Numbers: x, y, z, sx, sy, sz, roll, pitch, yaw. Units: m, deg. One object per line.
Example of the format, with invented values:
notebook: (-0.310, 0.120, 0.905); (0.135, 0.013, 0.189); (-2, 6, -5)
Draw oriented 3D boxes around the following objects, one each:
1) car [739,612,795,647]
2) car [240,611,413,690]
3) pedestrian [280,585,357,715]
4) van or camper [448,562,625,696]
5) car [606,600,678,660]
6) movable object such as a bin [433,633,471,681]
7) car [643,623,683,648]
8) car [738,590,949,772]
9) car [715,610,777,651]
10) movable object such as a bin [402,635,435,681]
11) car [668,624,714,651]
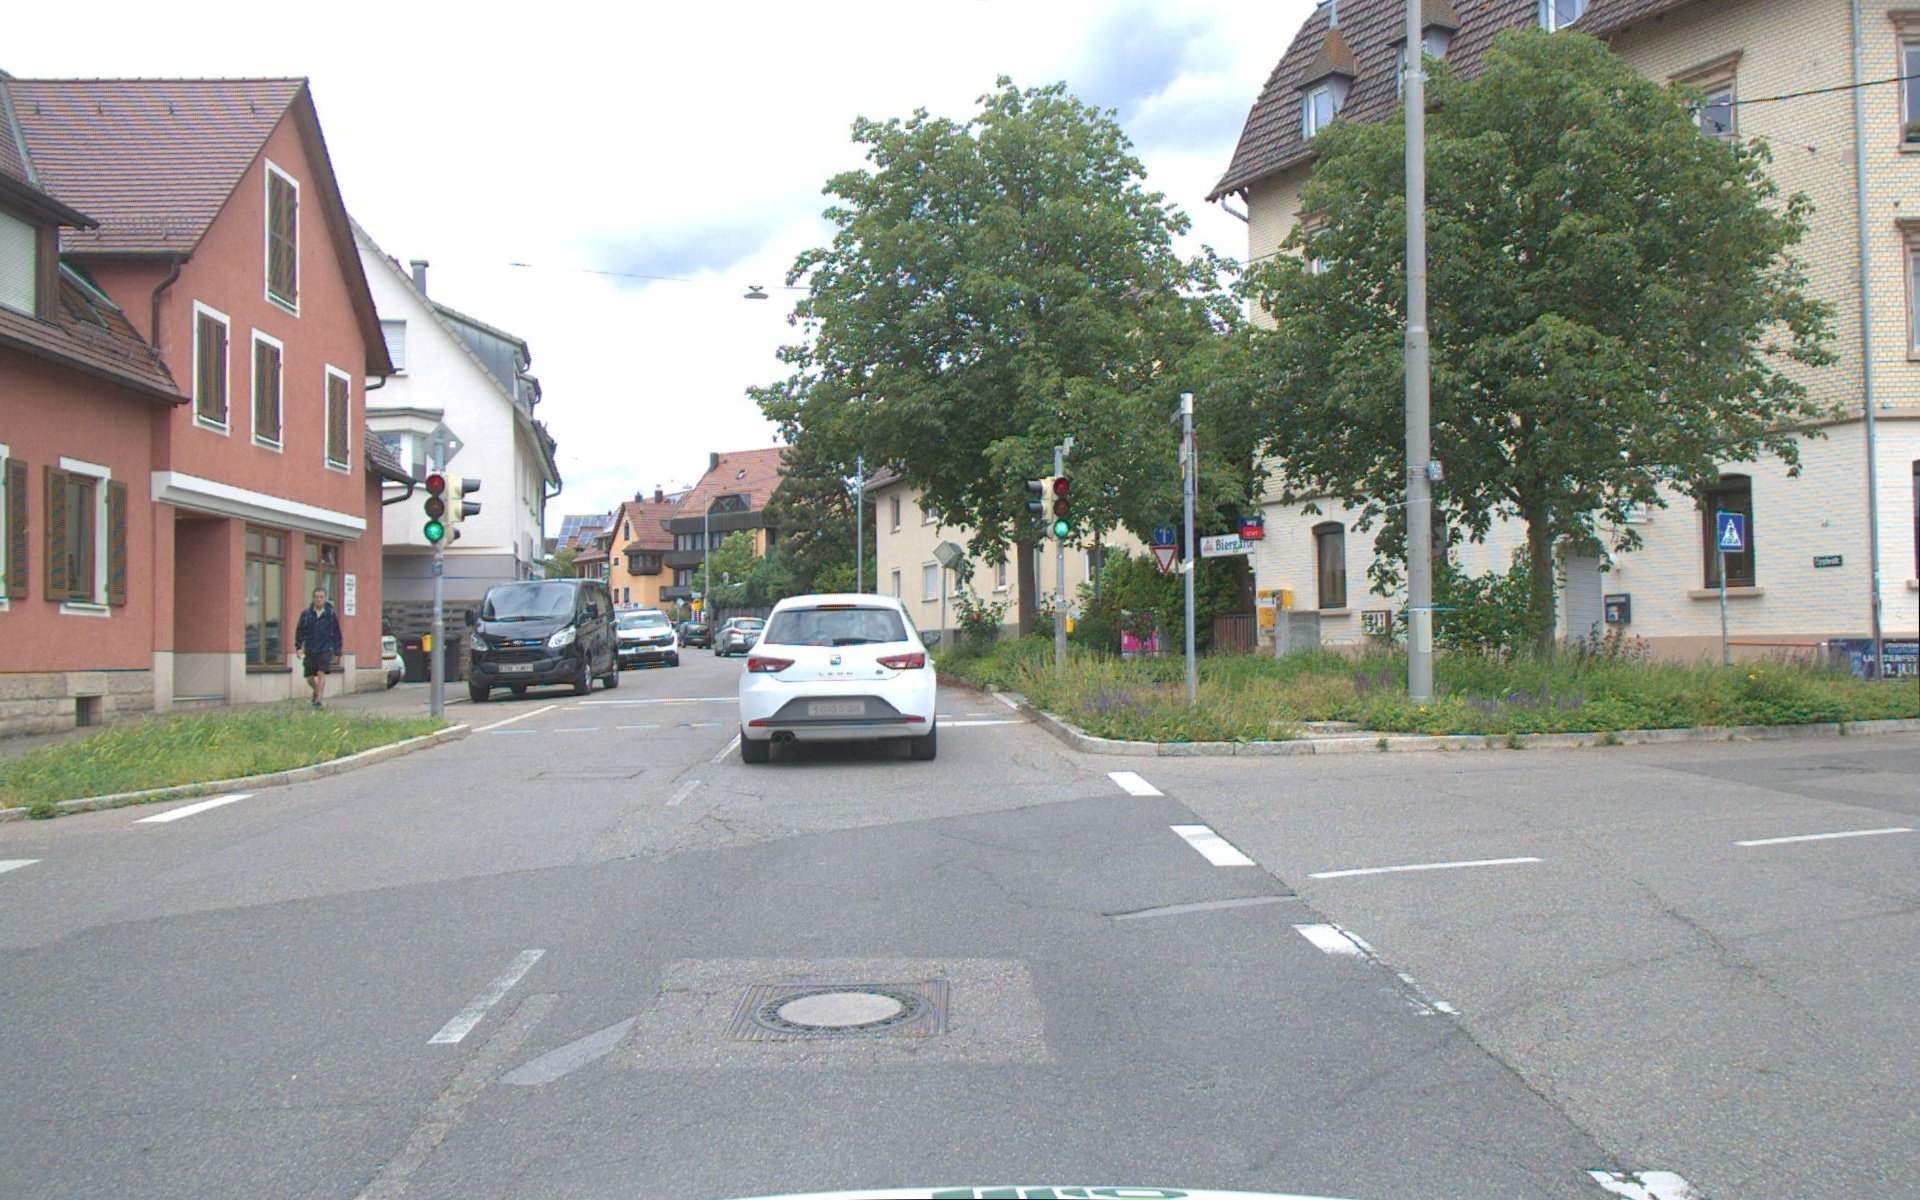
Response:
car: (-8.705, 1.351, 74.324); (1.731, 1.477, 3.979); (2, -2, -18)
car: (-12.574, 0.996, 32.946); (2.772, 1.500, 1.742); (-1, -1, -1)
pedestrian: (-9.154, 0.702, 23.628); (0.784, 1.816, 0.892); (0, 0, -4)
van or camper: (-7.253, 0.545, 28.847); (2.033, 2.041, 4.853); (-3, -2, -4)
car: (-9.306, 0.874, 48.471); (1.962, 1.662, 4.844); (0, -1, -11)
movable object such as a bin: (-11.390, 1.267, 37.091); (0.653, 1.036, 0.794); (-1, 0, -7)
car: (-18.585, 2.219, 103.315); (1.734, 1.477, 3.973); (0, -1, -22)
car: (-1.051, 0.667, 15.614); (1.723, 1.477, 3.998); (0, 0, -3)
car: (-8.047, 1.137, 61.835); (1.730, 1.477, 3.982); (0, -1, -16)
movable object such as a bin: (-12.094, 1.296, 36.932); (0.523, 0.988, 0.634); (1, 0, -3)
car: (-15.152, 2.129, 92.940); (1.734, 1.477, 3.973); (0, -1, -22)
